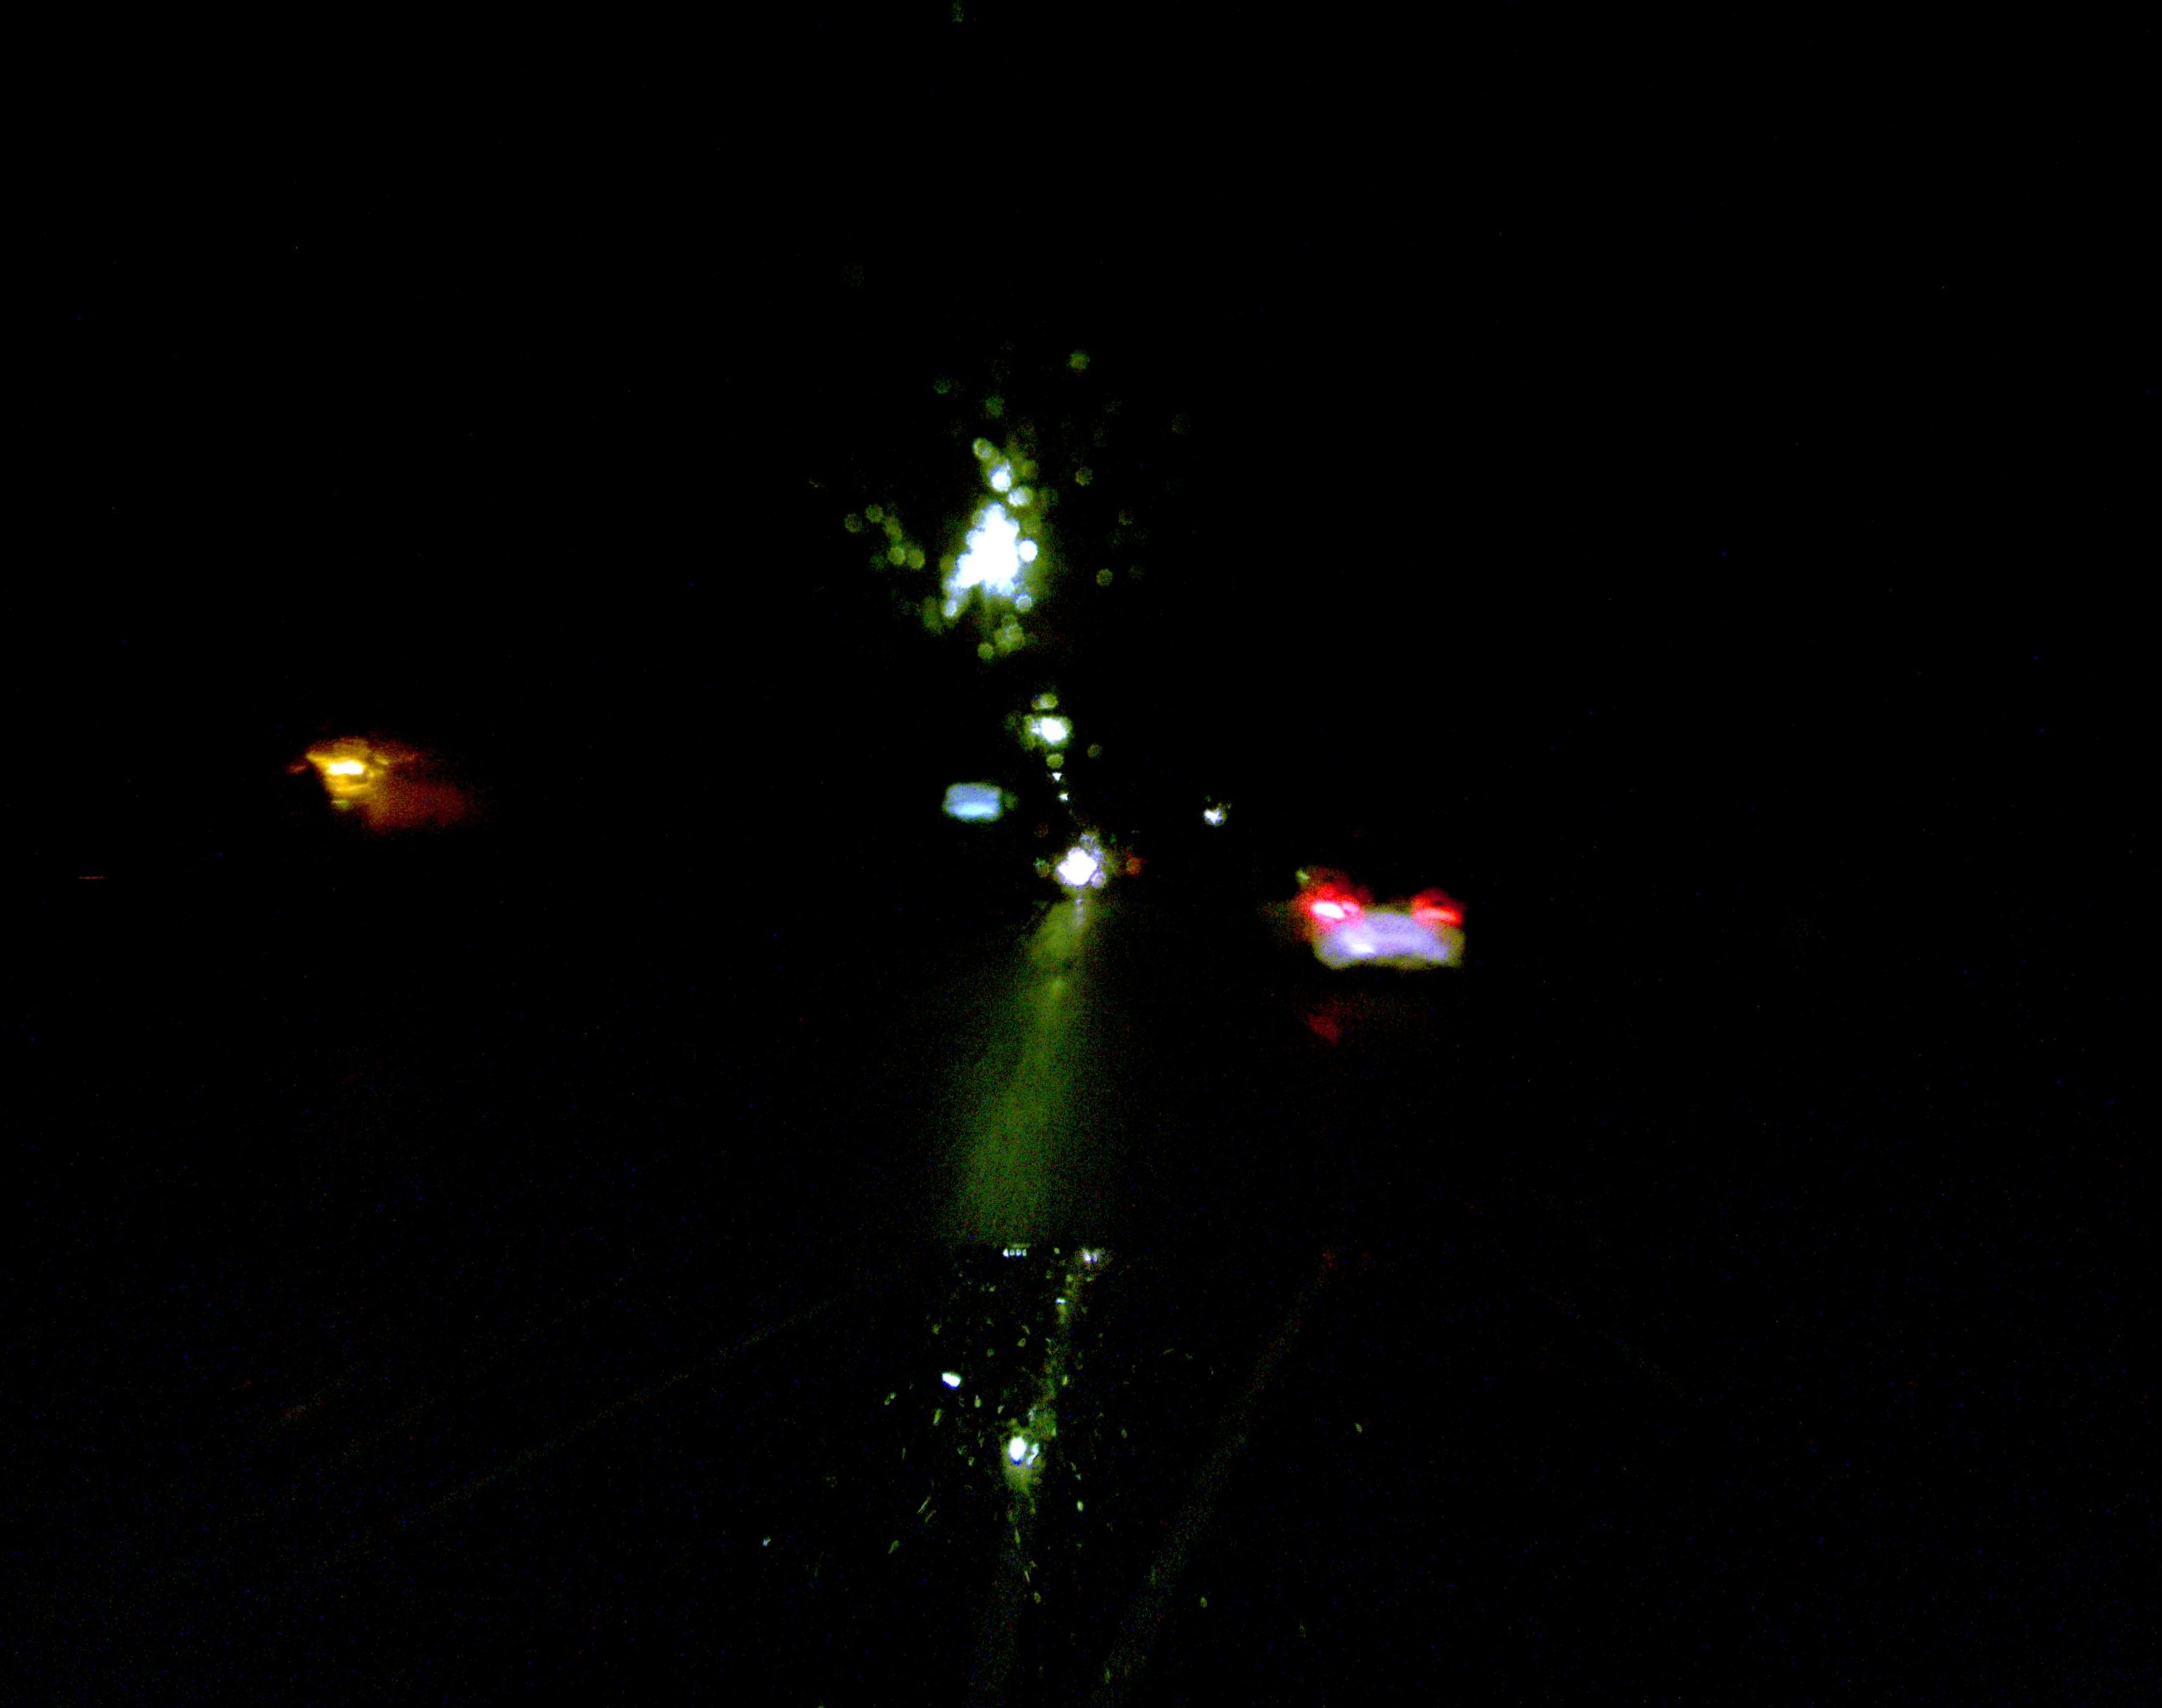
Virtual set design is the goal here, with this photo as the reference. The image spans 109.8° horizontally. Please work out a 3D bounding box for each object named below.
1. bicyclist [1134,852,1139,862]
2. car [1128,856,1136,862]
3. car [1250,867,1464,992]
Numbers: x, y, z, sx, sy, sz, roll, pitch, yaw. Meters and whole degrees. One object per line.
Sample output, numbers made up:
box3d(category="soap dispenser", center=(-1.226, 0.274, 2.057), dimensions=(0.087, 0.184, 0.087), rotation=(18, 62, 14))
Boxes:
box3d(category="bicyclist", center=(9.231, 0.569, 126.382), dimensions=(0.638, 1.585, 0.961), rotation=(-2, -2, -1))
box3d(category="car", center=(13.543, 1.293, 201.710), dimensions=(1.997, 1.447, 4.305), rotation=(3, 1, 8))
box3d(category="car", center=(3.759, 0.937, 11.124), dimensions=(1.749, 1.425, 4.000), rotation=(0, 0, 1))
